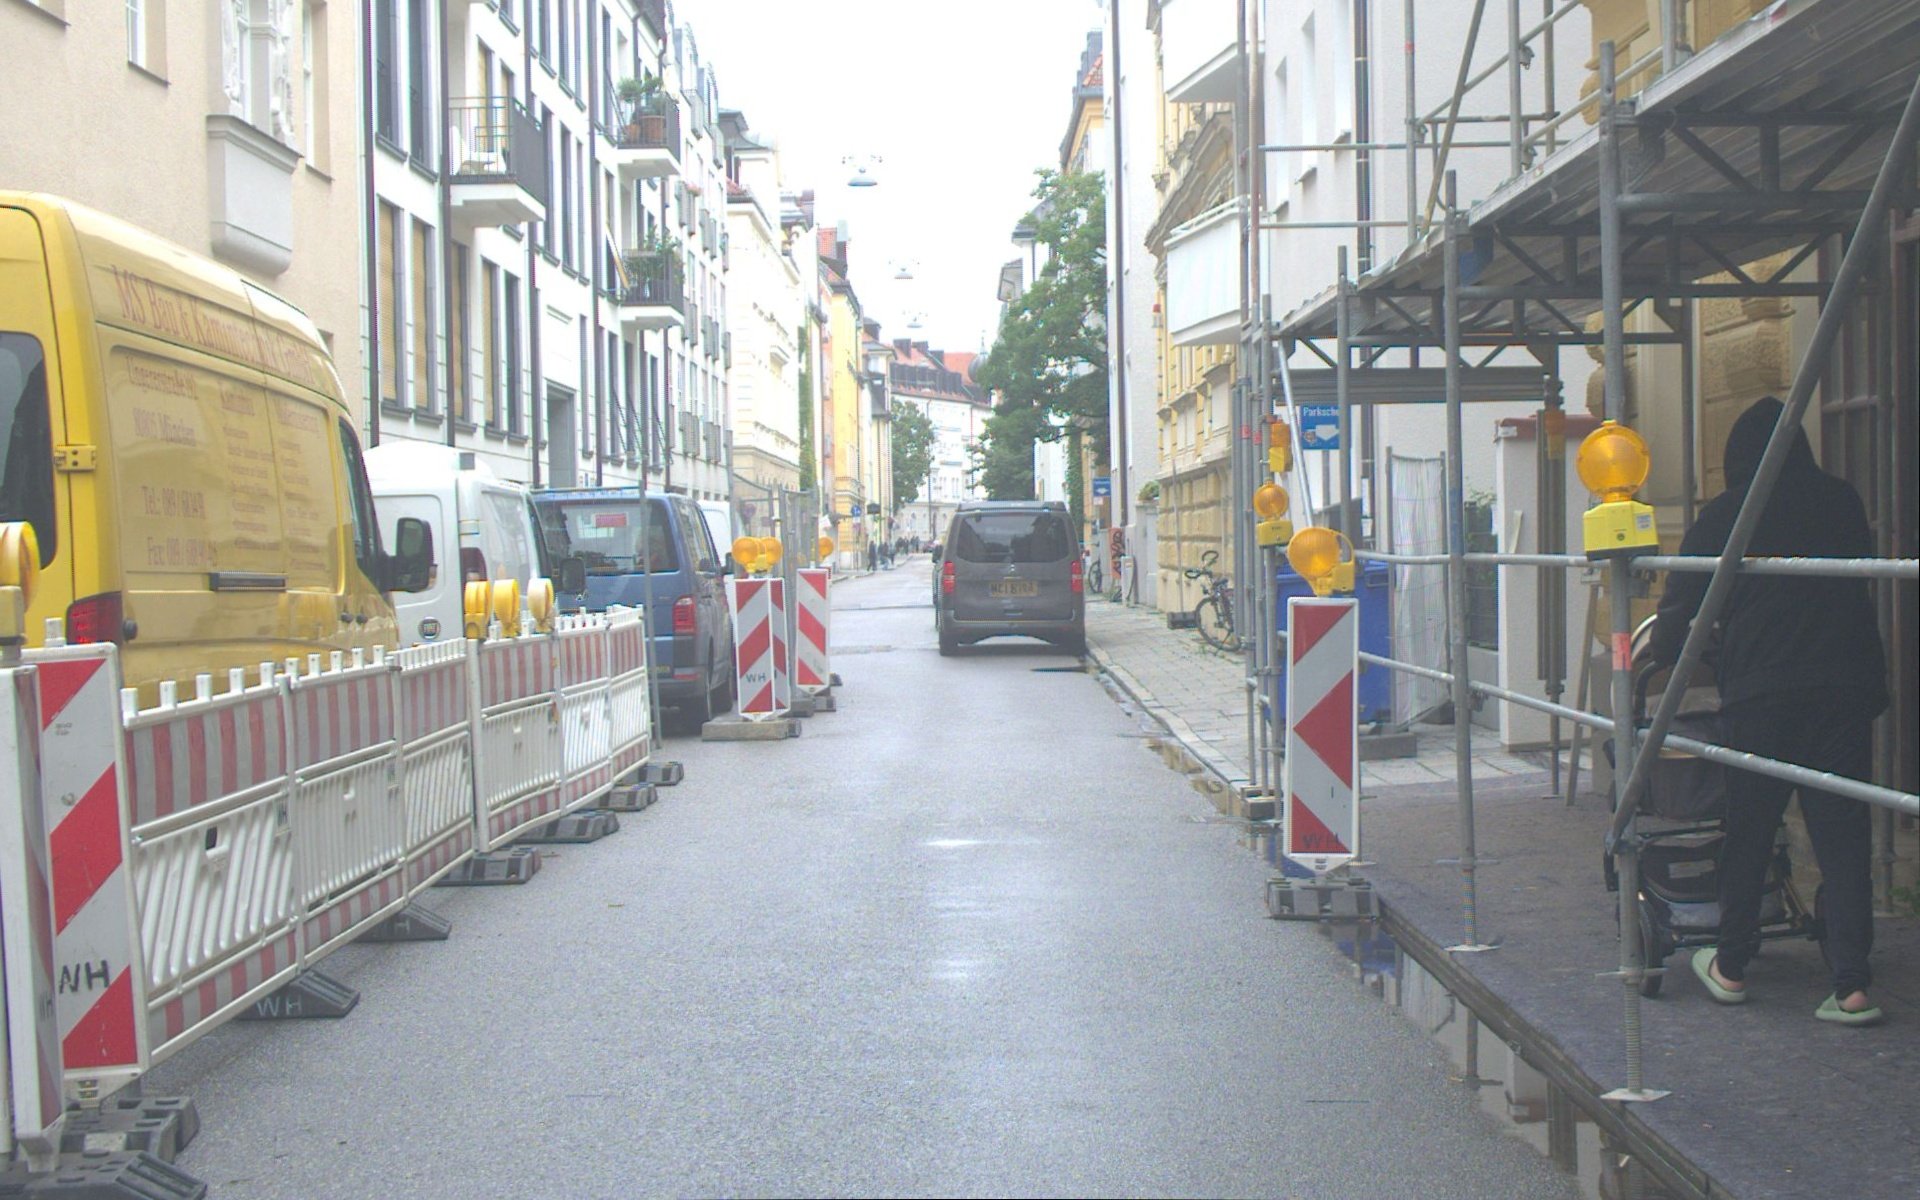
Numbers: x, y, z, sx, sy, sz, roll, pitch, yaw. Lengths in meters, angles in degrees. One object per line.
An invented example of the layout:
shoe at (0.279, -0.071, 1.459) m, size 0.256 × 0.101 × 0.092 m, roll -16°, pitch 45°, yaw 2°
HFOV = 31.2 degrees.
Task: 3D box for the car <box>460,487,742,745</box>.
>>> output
car at (-2.912, 0.081, 28.960) m, size 1.727 × 1.891 × 5.509 m, roll -3°, pitch 1°, yaw 0°

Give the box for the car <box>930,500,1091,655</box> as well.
car at (0.608, -0.324, 45.281) m, size 1.993 × 1.925 × 4.660 m, roll 0°, pitch 1°, yaw -1°

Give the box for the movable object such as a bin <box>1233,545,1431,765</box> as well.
movable object such as a bin at (2.501, 0.350, 22.957) m, size 1.087 × 1.341 × 1.317 m, roll -4°, pitch 1°, yaw 13°

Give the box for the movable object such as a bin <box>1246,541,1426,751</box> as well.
movable object such as a bin at (2.660, 0.309, 24.194) m, size 1.126 × 1.341 × 1.171 m, roll -5°, pitch 1°, yaw 8°

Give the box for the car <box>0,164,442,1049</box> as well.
car at (-3.521, -0.016, 13.379) m, size 1.993 × 2.570 × 6.737 m, roll -2°, pitch 1°, yaw -1°

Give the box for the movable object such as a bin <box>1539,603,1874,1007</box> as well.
movable object such as a bin at (2.333, 0.618, 10.851) m, size 0.729 × 1.137 × 0.988 m, roll -5°, pitch 1°, yaw -1°

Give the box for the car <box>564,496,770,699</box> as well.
car at (-2.908, -0.057, 35.013) m, size 1.904 × 1.891 × 5.090 m, roll -1°, pitch 1°, yaw -3°

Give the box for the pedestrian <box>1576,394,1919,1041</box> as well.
pedestrian at (2.327, 0.319, 10.063) m, size 0.729 × 1.746 × 0.988 m, roll -5°, pitch 1°, yaw -1°

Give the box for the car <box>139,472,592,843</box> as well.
car at (-3.431, 0.272, 20.769) m, size 1.917 × 1.891 × 4.791 m, roll -3°, pitch 1°, yaw -1°

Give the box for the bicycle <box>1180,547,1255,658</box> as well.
bicycle at (2.870, 0.014, 38.467) m, size 0.638 × 1.149 × 1.915 m, roll -4°, pitch 2°, yaw 1°
